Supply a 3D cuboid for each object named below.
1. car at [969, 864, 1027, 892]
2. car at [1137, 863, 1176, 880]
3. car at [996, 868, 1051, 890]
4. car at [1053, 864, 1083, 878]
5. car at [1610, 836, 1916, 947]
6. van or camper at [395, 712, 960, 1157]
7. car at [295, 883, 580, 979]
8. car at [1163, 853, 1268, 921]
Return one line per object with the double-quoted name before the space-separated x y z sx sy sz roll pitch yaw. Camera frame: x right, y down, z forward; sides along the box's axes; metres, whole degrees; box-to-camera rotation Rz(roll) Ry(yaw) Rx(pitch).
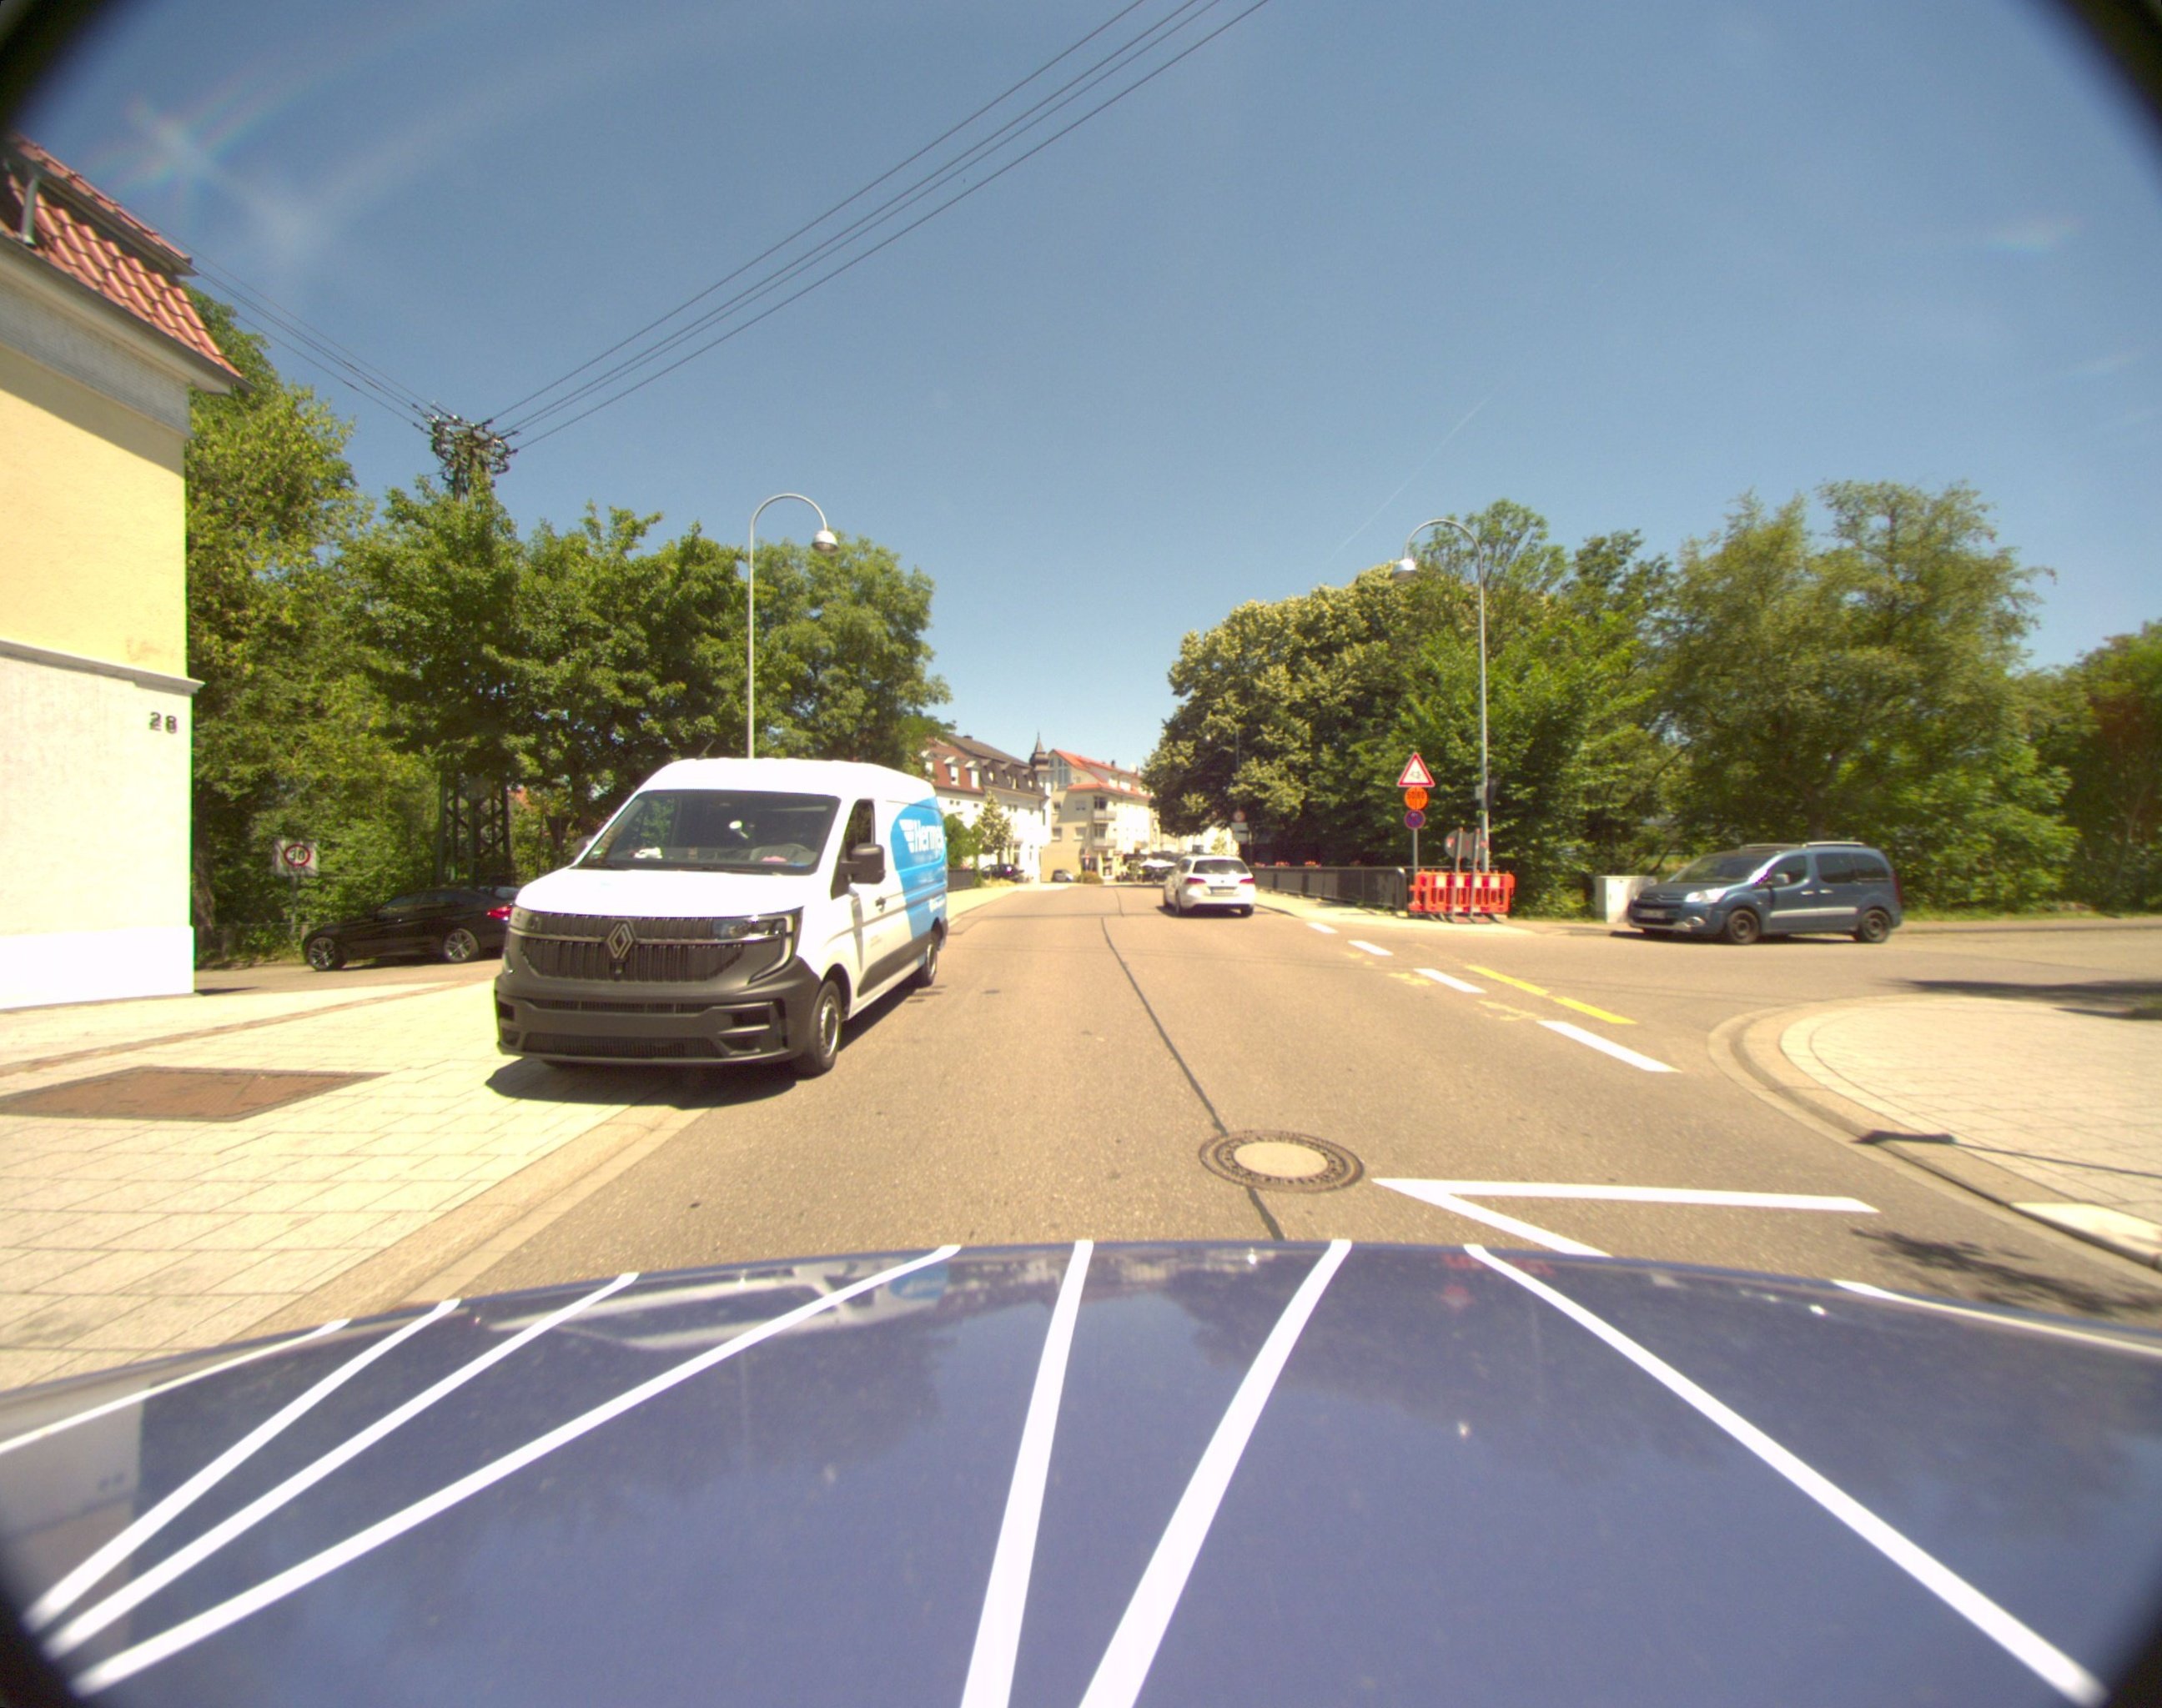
"car" -6.587 1.914 60.054 3.990 2.002 2.003 -3 0 26
"car" 8.377 1.968 84.066 4.010 1.705 1.994 4 -3 -42
"car" -4.777 2.096 62.741 3.990 1.660 2.004 -3 -1 27
"car" -1.461 1.945 85.637 3.038 1.444 1.570 -3 0 22
"car" 12.470 0.680 14.016 4.439 1.862 1.818 0 -2 -10
"van or camper" -2.749 0.419 7.325 2.113 2.453 6.175 1 1 0
"car" -12.599 1.484 14.999 4.399 1.458 1.646 -4 0 7
"car" 3.254 0.762 19.176 1.998 1.498 4.289 -1 0 2
